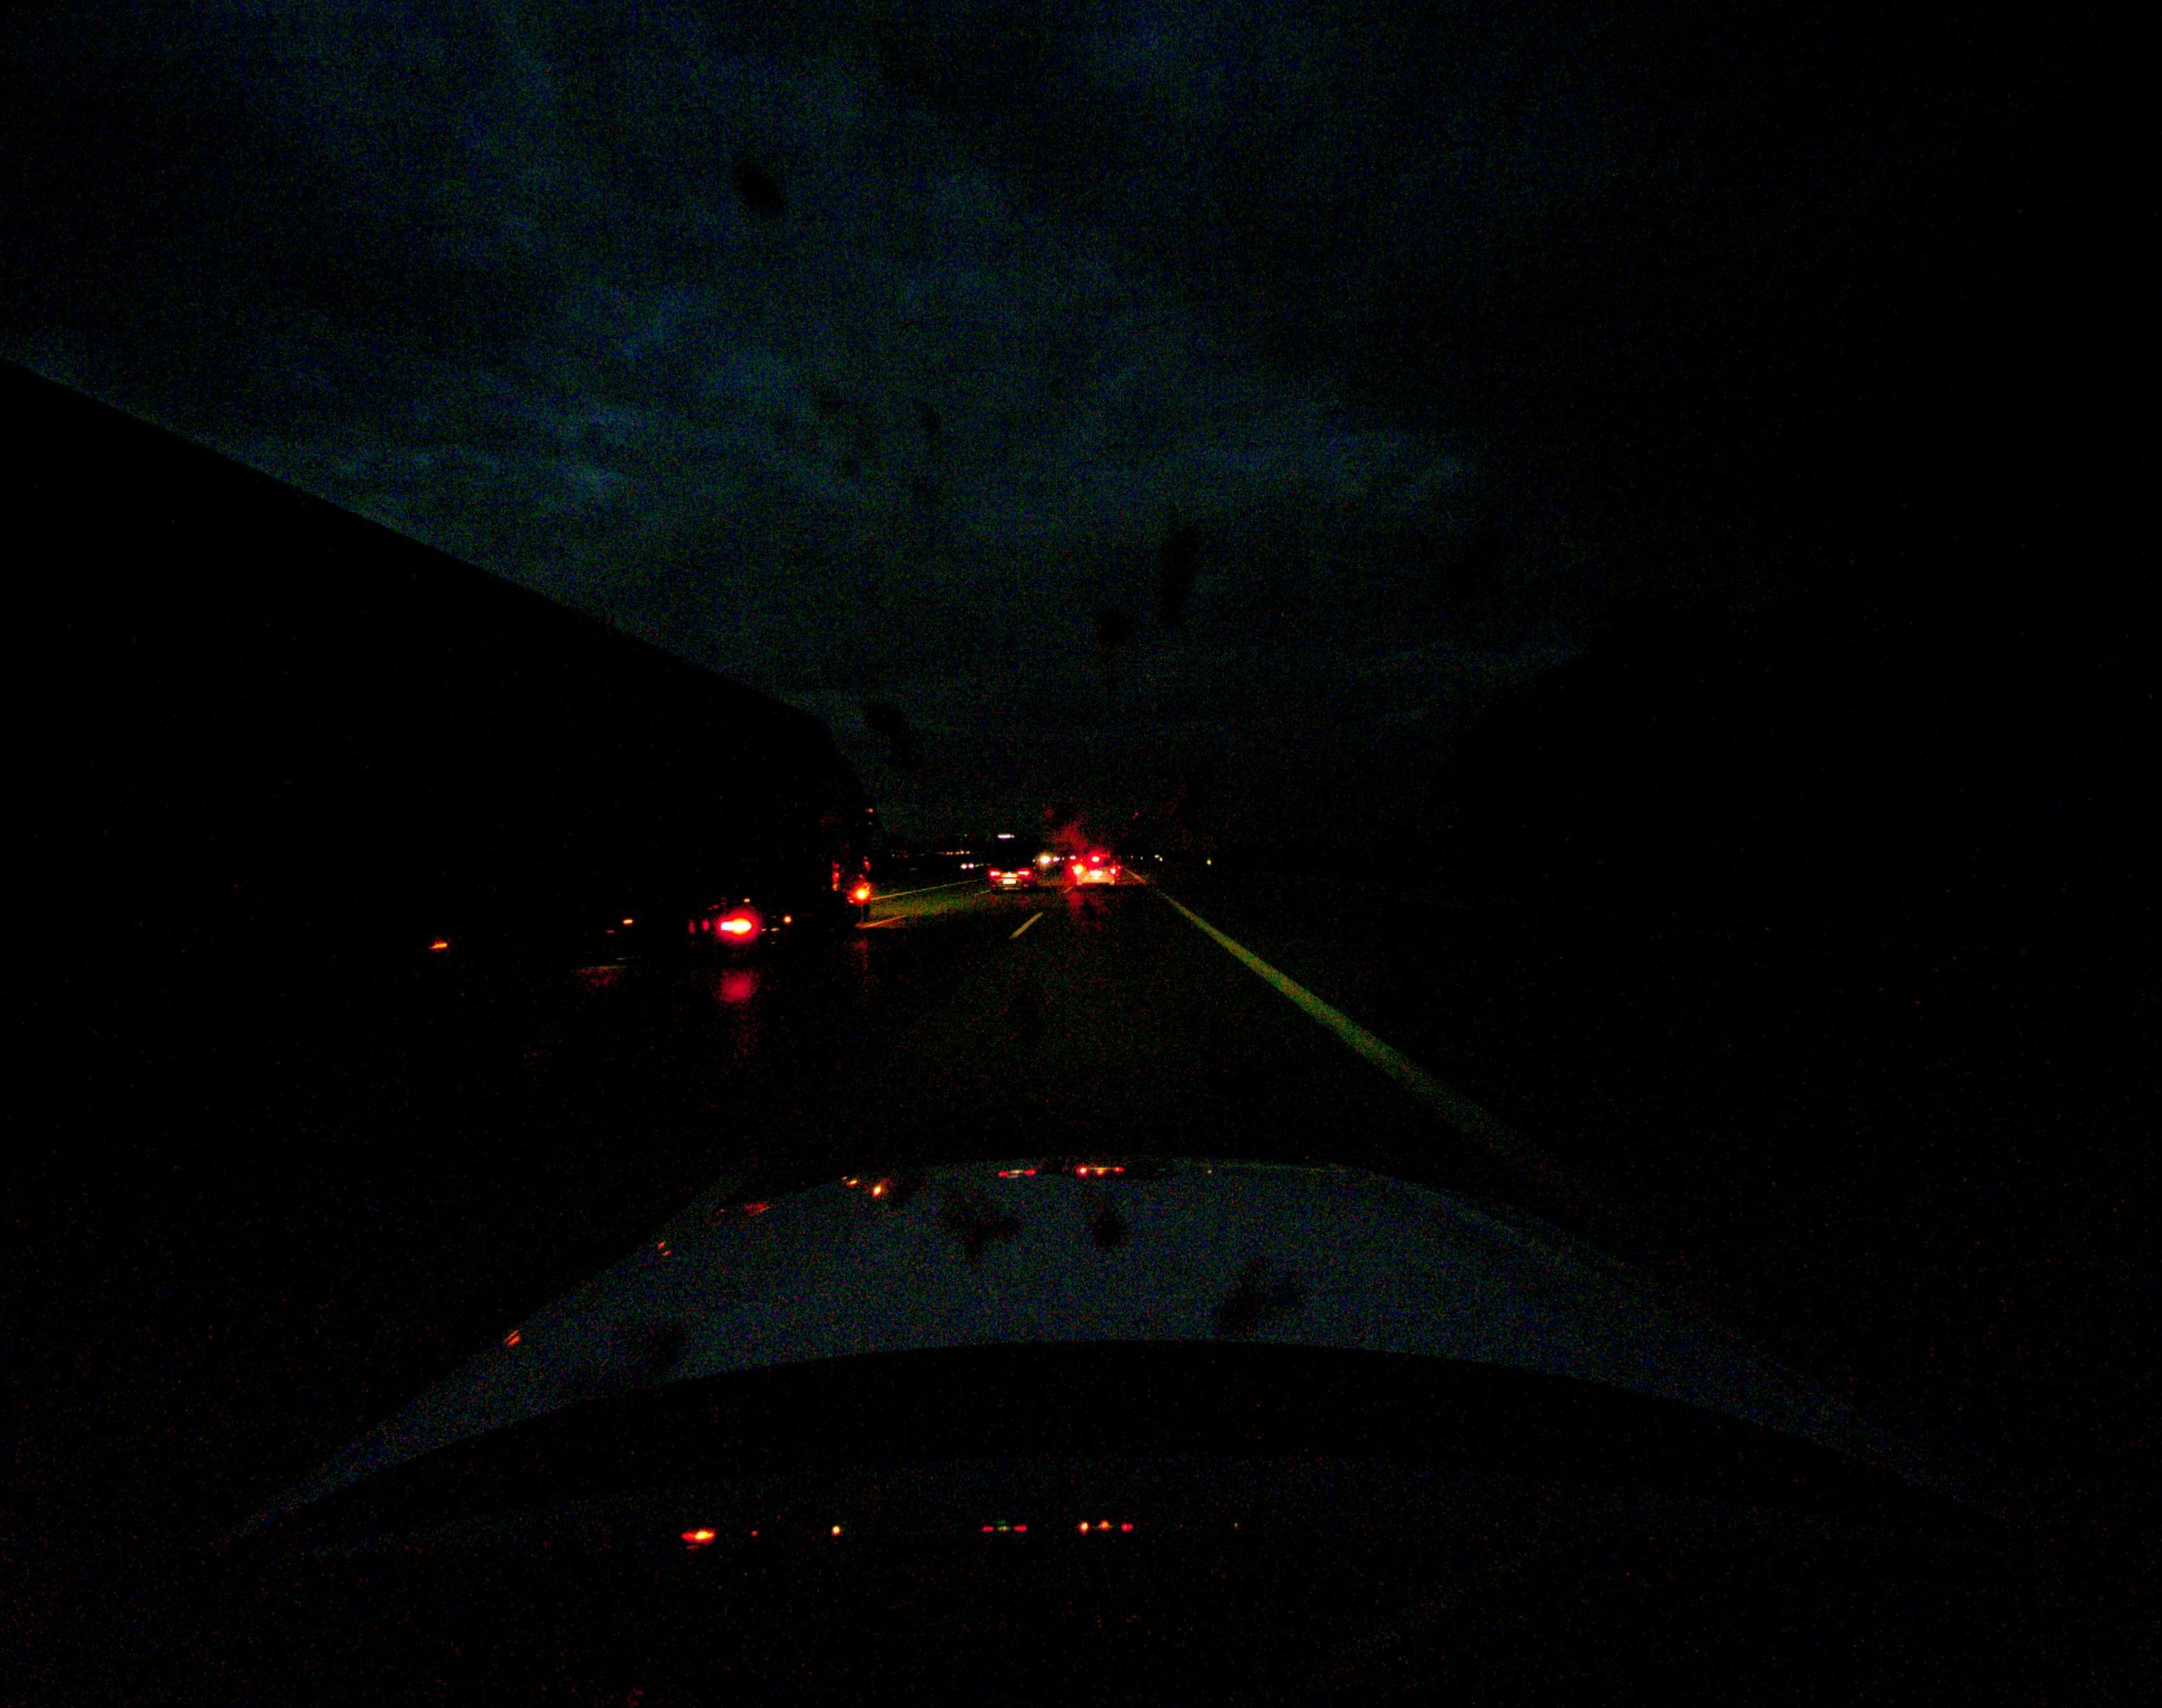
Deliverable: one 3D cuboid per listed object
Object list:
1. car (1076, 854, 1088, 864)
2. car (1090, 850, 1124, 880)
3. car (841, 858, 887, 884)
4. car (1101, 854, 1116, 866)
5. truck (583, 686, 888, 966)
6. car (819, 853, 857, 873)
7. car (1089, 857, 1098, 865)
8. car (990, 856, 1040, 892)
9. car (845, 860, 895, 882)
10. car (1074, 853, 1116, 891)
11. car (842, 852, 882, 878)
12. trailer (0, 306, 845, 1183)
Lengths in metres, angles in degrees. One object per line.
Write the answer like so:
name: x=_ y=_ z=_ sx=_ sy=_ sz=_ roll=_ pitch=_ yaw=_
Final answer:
car: x=0.215 y=0.890 z=137.510 sx=1.873 sy=1.552 sz=4.000 roll=-1 pitch=-1 yaw=1
car: x=1.478 y=0.634 z=46.706 sx=1.873 sy=1.643 sz=4.001 roll=-1 pitch=-1 yaw=2
car: x=-14.255 y=1.081 z=53.760 sx=1.693 sy=1.617 sz=4.628 roll=-1 pitch=-1 yaw=2
car: x=3.406 y=0.771 z=101.933 sx=1.873 sy=1.552 sz=4.000 roll=-1 pitch=-1 yaw=1
truck: x=-5.894 y=-0.380 z=15.212 sx=2.766 sy=4.093 sz=6.106 roll=-2 pitch=-1 yaw=2
car: x=-20.659 y=0.785 z=69.366 sx=1.654 sy=1.643 sz=4.796 roll=-1 pitch=-1 yaw=2
car: x=3.233 y=1.814 z=211.948 sx=2.191 sy=1.879 sz=4.001 roll=-1 pitch=-1 yaw=1
car: x=-2.820 y=0.850 z=35.765 sx=1.716 sy=1.471 sz=4.727 roll=-1 pitch=-1 yaw=1
car: x=-14.294 y=1.165 z=55.416 sx=1.986 sy=1.412 sz=4.661 roll=-1 pitch=-1 yaw=2
car: x=0.686 y=0.773 z=36.048 sx=1.737 sy=1.525 sz=4.416 roll=-1 pitch=-1 yaw=2
car: x=-20.524 y=1.032 z=76.604 sx=1.986 sy=2.388 sz=5.838 roll=-1 pitch=-1 yaw=2
trailer: x=-6.207 y=-0.441 z=8.059 sx=2.783 sy=4.085 sz=14.534 roll=-2 pitch=-1 yaw=3
